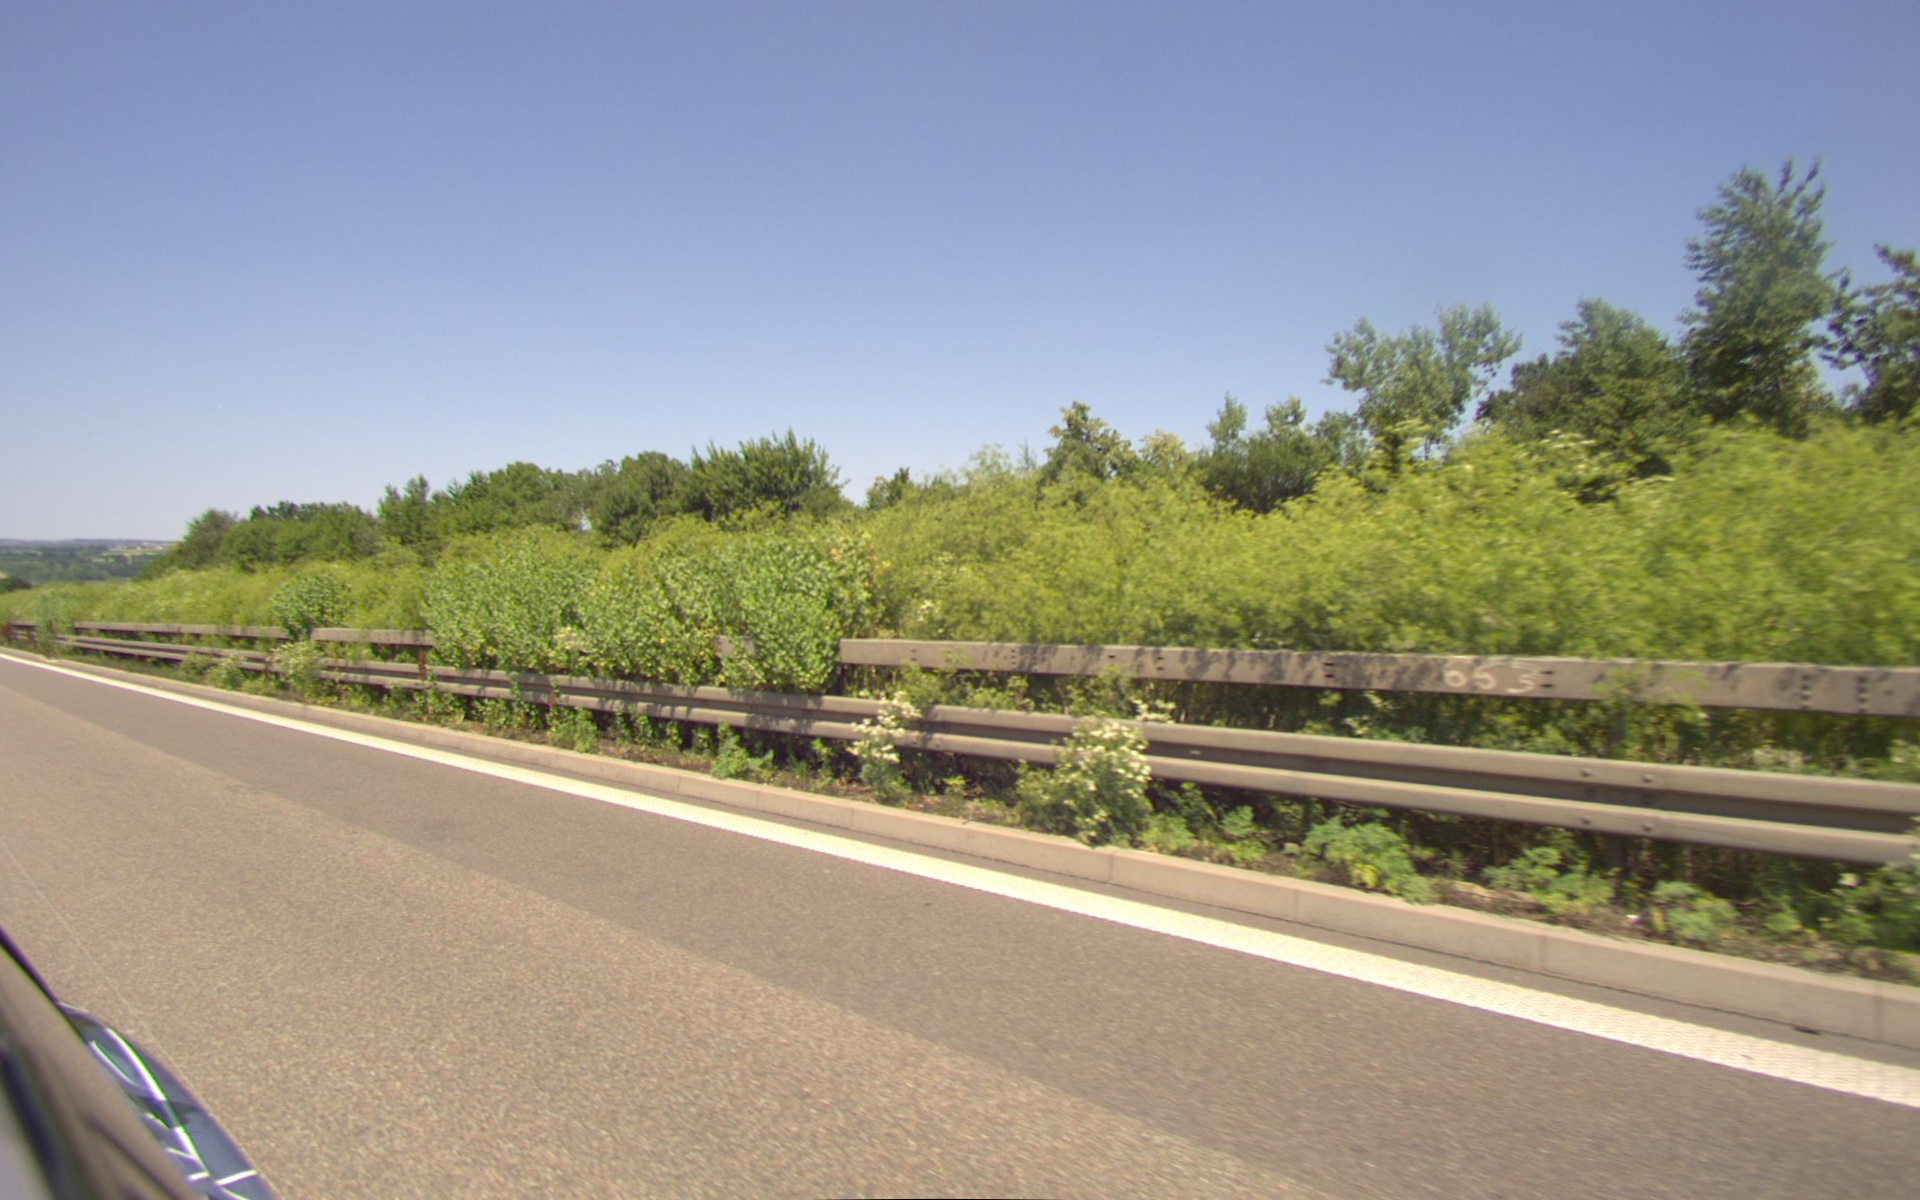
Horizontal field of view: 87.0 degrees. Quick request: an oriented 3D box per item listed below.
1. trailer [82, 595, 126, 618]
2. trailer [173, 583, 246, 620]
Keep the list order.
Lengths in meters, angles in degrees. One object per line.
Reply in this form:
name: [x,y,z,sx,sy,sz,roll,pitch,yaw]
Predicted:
trailer: [-108.096,0.869,127.744,12.311,2.822,2.645,-1,-1,42]
trailer: [-59.212,0.188,79.668,11.406,2.730,2.539,-1,-1,43]
